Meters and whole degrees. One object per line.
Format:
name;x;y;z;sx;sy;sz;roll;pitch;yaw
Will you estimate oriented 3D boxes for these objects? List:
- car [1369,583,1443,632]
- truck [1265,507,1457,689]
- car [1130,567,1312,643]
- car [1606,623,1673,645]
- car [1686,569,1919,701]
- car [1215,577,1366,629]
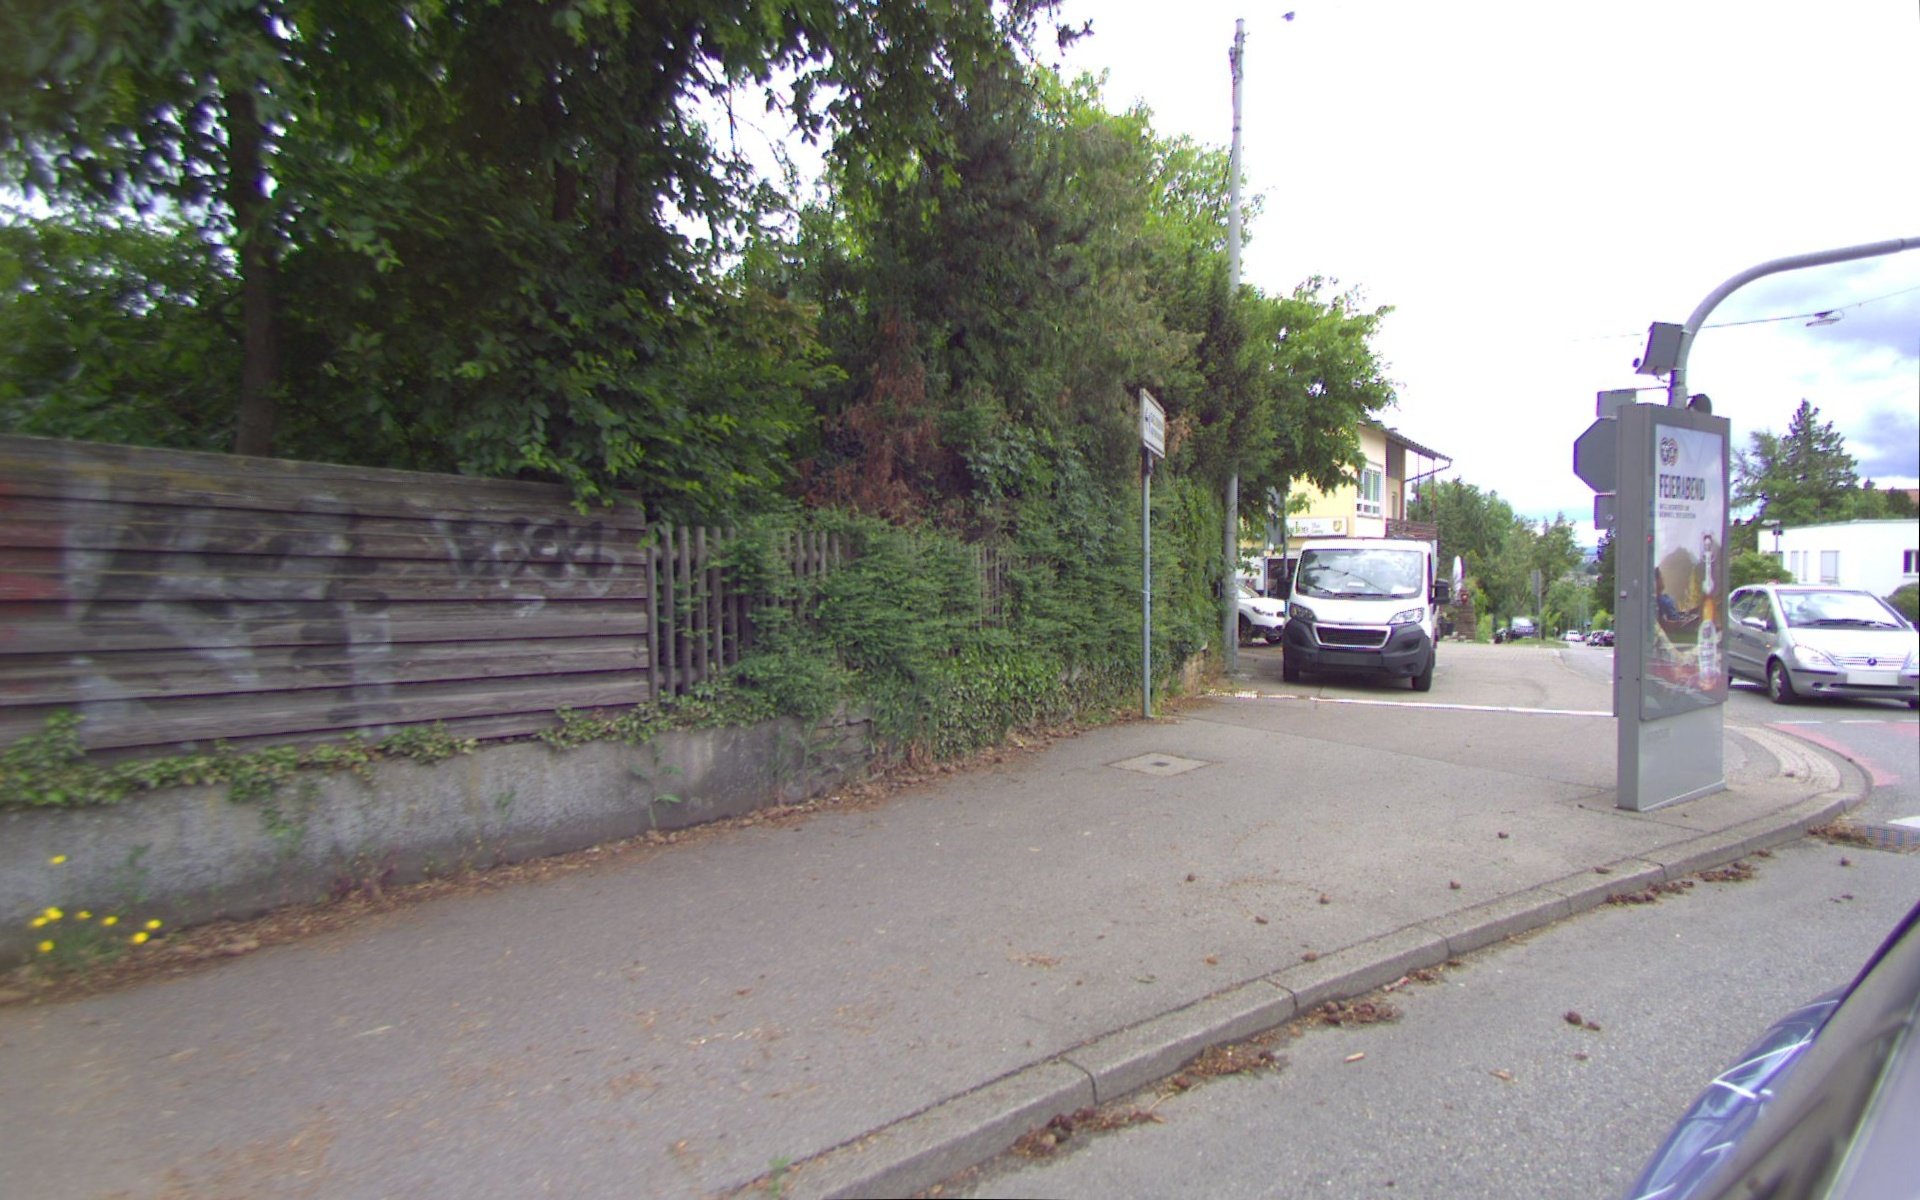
car;15.114;0.282;34.214;1.860;1.512;3.839;1;-2;30
truck;6.680;-0.169;16.475;2.380;2.380;6.137;2;3;25
car;6.317;0.051;24.853;1.834;1.660;4.066;0;2;-37
car;58.008;2.889;86.477;4.388;1.577;1.984;2;0;24
car;12.103;0.416;14.430;1.977;1.616;3.969;0;0;23
car;10.620;0.077;32.643;4.211;1.548;1.903;2;0;41
